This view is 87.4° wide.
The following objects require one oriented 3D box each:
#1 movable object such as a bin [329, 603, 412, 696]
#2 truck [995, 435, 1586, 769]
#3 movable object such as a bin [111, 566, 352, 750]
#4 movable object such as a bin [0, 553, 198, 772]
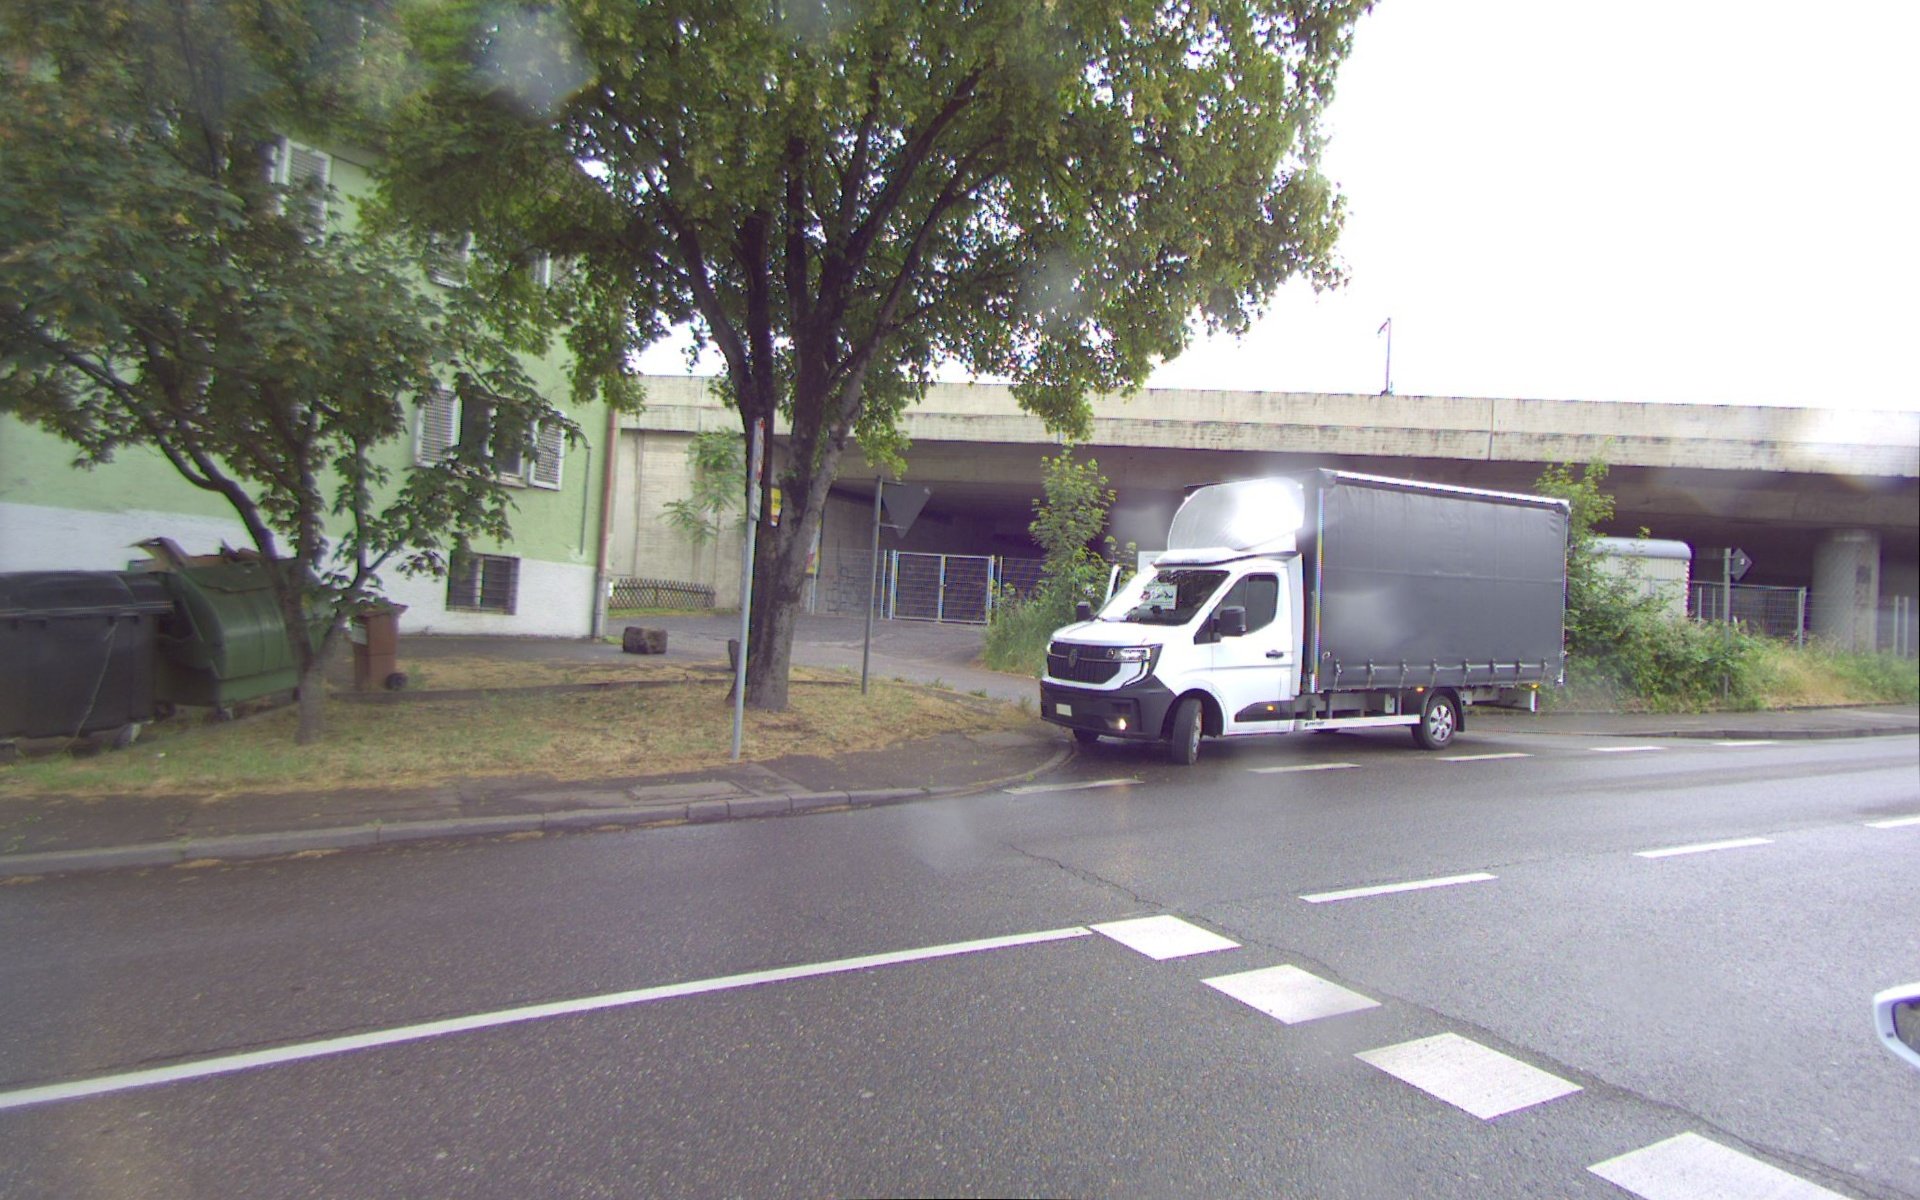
[{"bbox_3d":[-6.377,0.530,10.895,0.715,0.970,0.554,3,-1,-30],"label":"movable object such as a bin"},{"bbox_3d":[4.437,0.174,12.848,7.681,3.279,2.599,3,-1,-29],"label":"truck"},{"bbox_3d":[-6.753,0.469,9.412,1.078,1.457,1.463,5,5,13],"label":"movable object such as a bin"},{"bbox_3d":[-7.320,0.416,8.048,1.268,1.457,1.463,5,5,13],"label":"movable object such as a bin"}]
